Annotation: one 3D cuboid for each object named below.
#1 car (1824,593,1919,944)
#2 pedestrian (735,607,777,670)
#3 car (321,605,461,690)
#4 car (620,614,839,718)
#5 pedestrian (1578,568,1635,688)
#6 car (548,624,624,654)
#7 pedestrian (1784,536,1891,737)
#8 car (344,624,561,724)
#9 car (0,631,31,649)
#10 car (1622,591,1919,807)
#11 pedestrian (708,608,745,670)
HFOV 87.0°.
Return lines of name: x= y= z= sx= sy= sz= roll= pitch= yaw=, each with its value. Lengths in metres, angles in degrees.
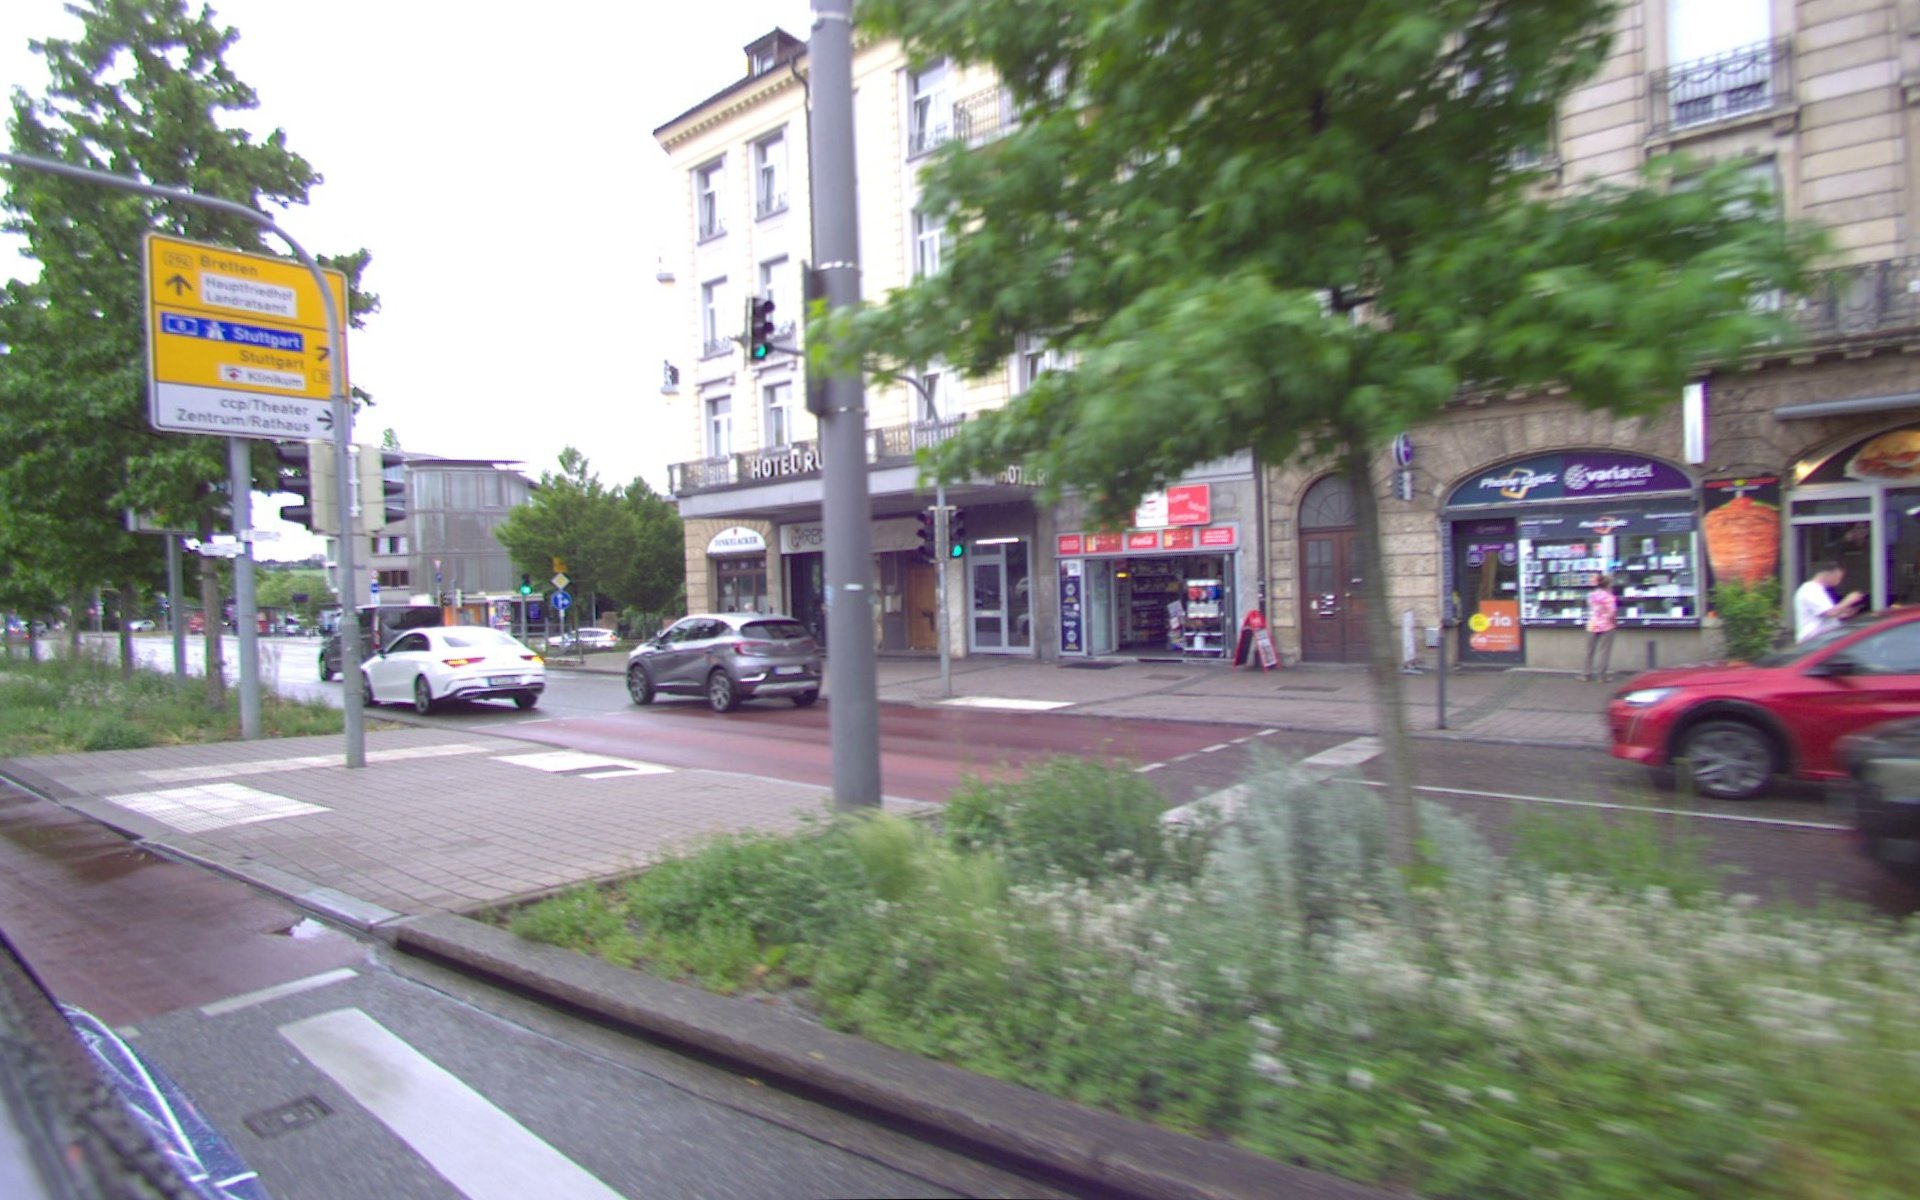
car: x=6.405 y=0.668 z=3.538 sx=5.023 sy=1.475 sz=1.824 roll=-1 pitch=-1 yaw=38
pedestrian: x=-5.160 y=0.962 z=25.590 sx=0.777 sy=1.550 sz=0.748 roll=-2 pitch=0 yaw=-31
car: x=-14.932 y=1.175 z=26.459 sx=4.372 sy=2.010 sz=1.920 roll=-1 pitch=-1 yaw=42
car: x=-3.929 y=1.031 z=16.935 sx=3.843 sy=1.520 sz=1.743 roll=-2 pitch=-1 yaw=44
pedestrian: x=9.426 y=0.393 z=14.750 sx=0.677 sy=1.683 sz=0.756 roll=0 pitch=0 yaw=35
car: x=-22.877 y=2.354 z=61.907 sx=3.936 sy=1.741 sz=2.004 roll=0 pitch=-1 yaw=-39
pedestrian: x=8.864 y=0.355 z=10.235 sx=0.765 sy=1.924 sz=0.669 roll=-1 pitch=-1 yaw=42
car: x=-8.788 y=1.162 z=17.355 sx=4.371 sy=1.475 sz=1.823 roll=-1 pitch=-1 yaw=41
car: x=-82.642 y=3.482 z=88.353 sx=3.909 sy=1.457 sz=1.957 roll=-1 pitch=-1 yaw=43
car: x=7.205 y=0.660 z=7.283 sx=3.913 sy=1.456 sz=1.660 roll=-1 pitch=0 yaw=40
pedestrian: x=-5.821 y=0.964 z=25.215 sx=0.633 sy=1.499 sz=0.748 roll=-2 pitch=0 yaw=-31
